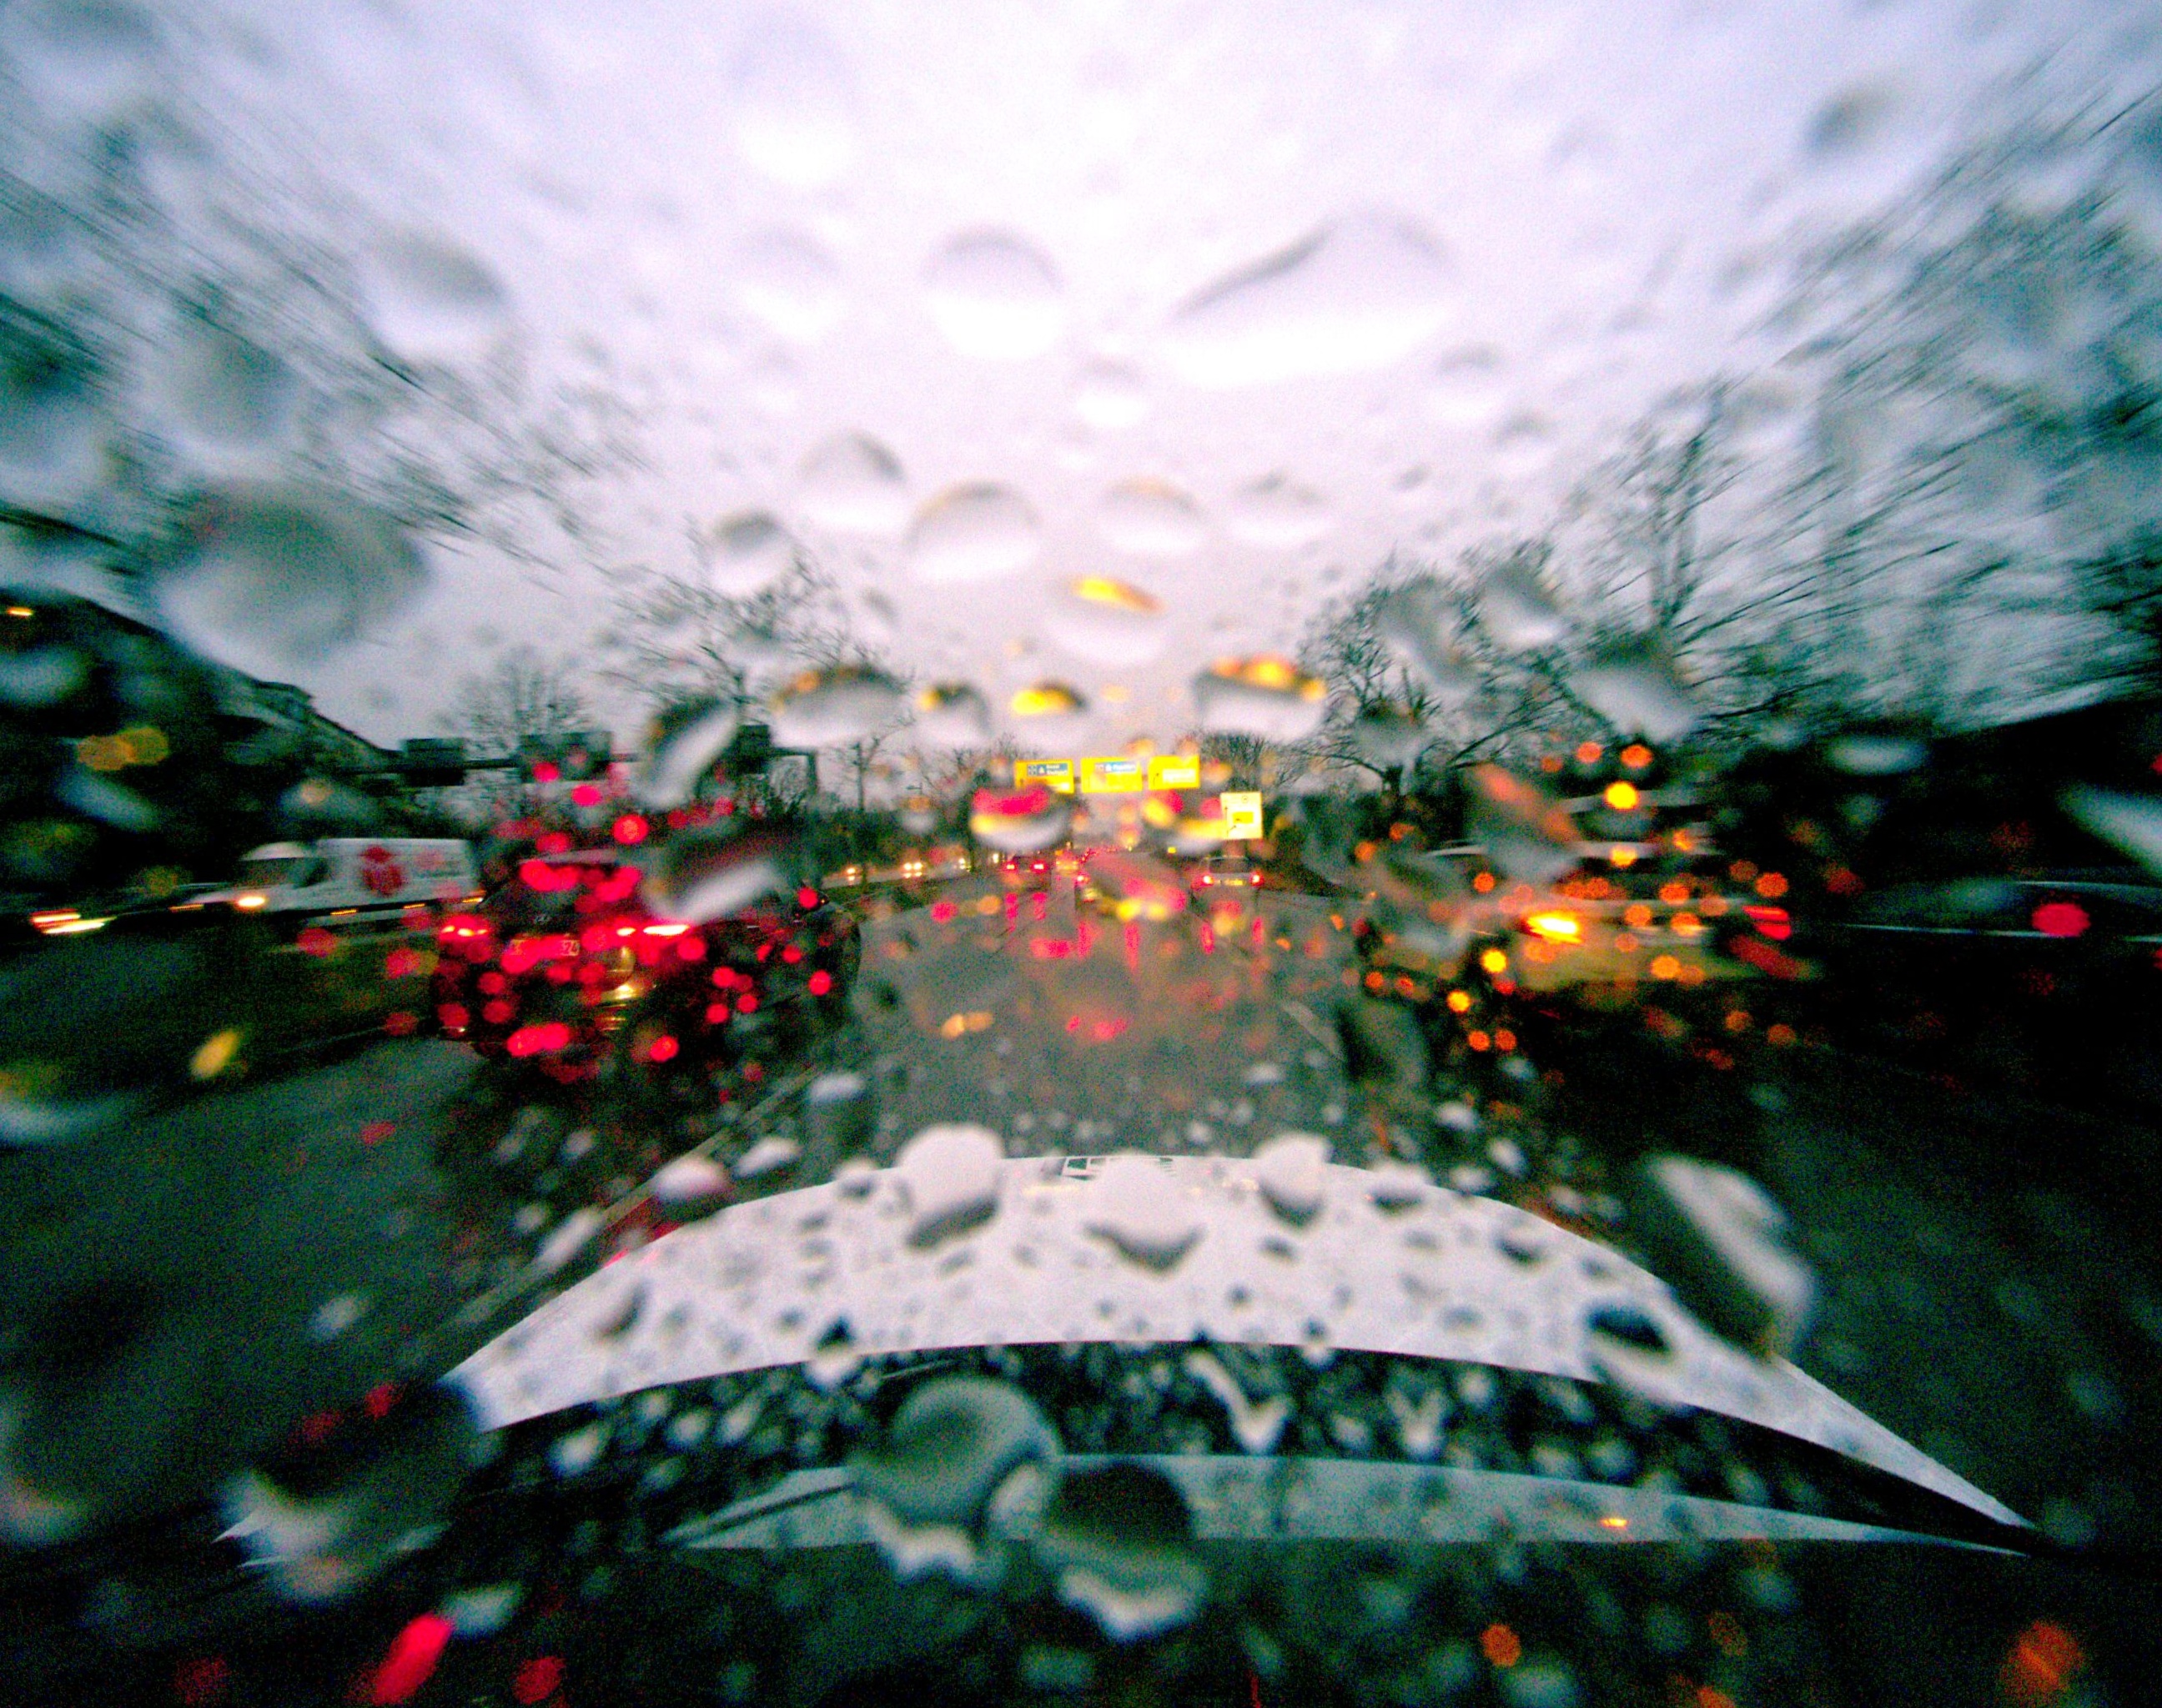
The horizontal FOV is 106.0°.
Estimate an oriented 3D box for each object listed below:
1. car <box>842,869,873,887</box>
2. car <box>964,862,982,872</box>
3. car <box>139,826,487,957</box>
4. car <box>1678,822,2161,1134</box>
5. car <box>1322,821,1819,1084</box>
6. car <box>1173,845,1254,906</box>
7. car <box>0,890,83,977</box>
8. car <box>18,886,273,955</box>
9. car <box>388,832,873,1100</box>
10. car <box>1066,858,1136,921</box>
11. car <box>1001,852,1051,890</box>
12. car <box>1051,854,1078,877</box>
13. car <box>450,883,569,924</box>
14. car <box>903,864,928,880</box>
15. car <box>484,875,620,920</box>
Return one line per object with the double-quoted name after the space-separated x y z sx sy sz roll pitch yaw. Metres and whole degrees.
-24.706 2.618 90.263 1.985 1.851 4.430 -1 0 3 "car"
-15.219 1.761 114.735 1.745 1.308 4.318 -1 0 2 "car"
-20.427 0.918 22.495 2.282 3.005 7.353 -1 -1 4 "car"
6.671 0.634 5.430 1.961 1.619 4.546 -3 0 -1 "car"
3.795 0.642 7.426 1.810 1.618 4.409 -2 0 -1 "car"
3.878 0.628 24.607 1.925 1.648 4.469 0 -1 3 "car"
-20.706 1.511 13.866 1.762 1.536 4.450 -2 0 3 "car"
-23.407 1.597 20.652 1.749 1.398 4.001 -2 0 2 "car"
-3.442 0.726 7.416 1.816 1.648 4.467 -2 0 1 "car"
0.629 0.954 23.394 1.815 1.648 4.469 0 -1 3 "car"
-2.521 0.764 38.031 1.815 1.648 4.003 -2 0 3 "car"
-1.288 0.876 64.035 1.815 1.648 4.003 -2 0 3 "car"
-23.524 2.009 33.729 1.896 1.446 4.092 -1 -1 2 "car"
-17.557 1.912 86.509 1.779 1.627 3.575 -1 0 1 "car"
-19.877 1.594 30.886 1.894 1.446 4.463 -1 -1 7 "car"
